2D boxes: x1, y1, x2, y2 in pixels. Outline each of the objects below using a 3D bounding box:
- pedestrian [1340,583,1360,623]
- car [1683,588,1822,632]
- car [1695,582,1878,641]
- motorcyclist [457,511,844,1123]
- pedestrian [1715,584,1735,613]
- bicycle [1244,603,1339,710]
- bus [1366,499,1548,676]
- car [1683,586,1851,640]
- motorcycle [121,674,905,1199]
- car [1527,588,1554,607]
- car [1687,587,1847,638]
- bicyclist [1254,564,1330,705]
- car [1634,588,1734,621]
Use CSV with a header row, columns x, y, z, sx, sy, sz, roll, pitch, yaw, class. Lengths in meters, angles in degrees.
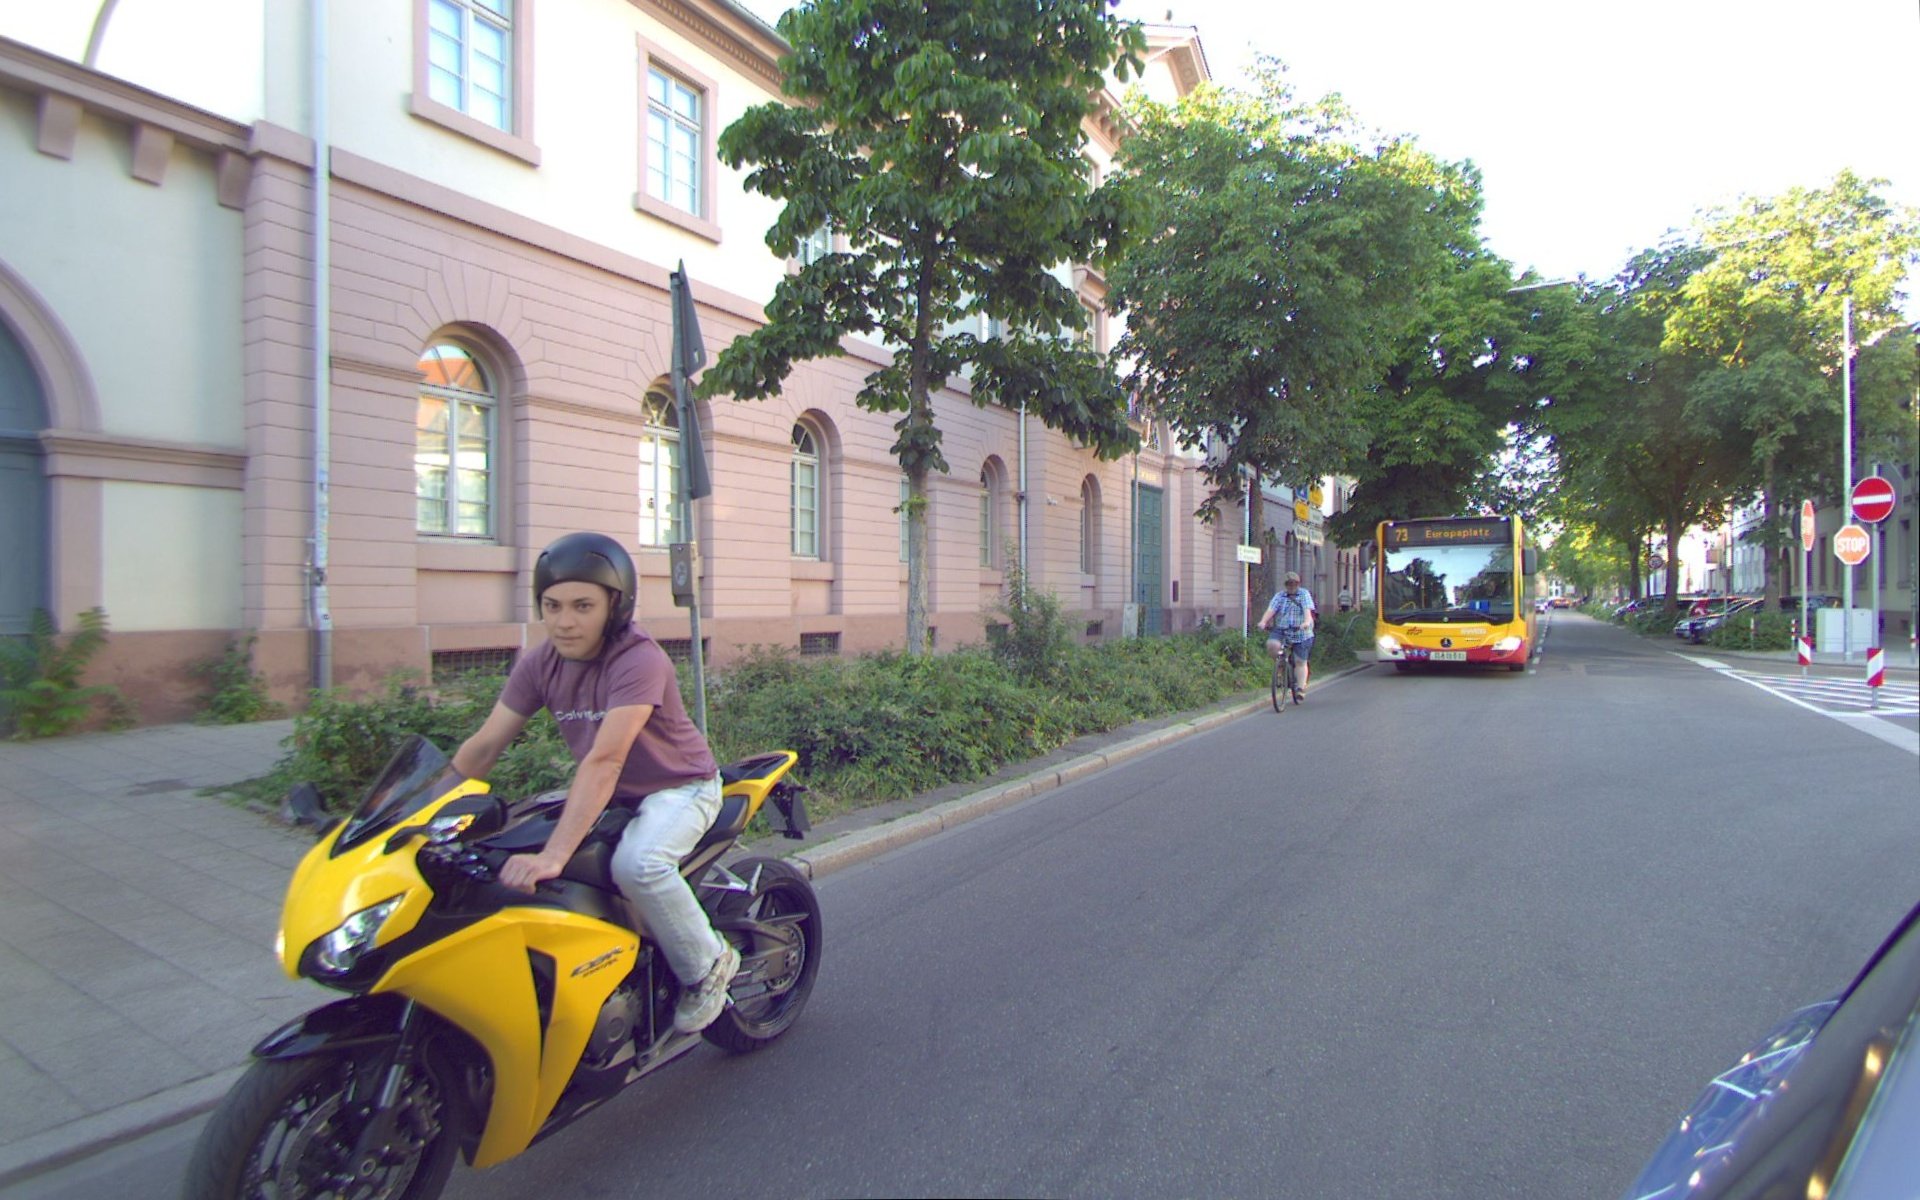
x,y,z,sx,sy,sz,roll,pitch,yaw,class
18.389,0.150,47.716,0.794,1.855,0.920,0,0,29,pedestrian
30.380,0.352,38.939,3.966,1.635,1.705,0,0,30,car
24.493,0.305,30.191,3.966,1.635,1.809,0,0,30,car
-0.863,0.515,2.883,0.786,1.438,0.692,-2,-1,28,motorcyclist
47.376,-0.083,62.672,0.887,1.793,1.010,0,0,30,pedestrian
4.599,0.736,13.957,0.777,1.347,2.055,-2,-1,31,bicycle
11.842,-0.215,23.293,2.691,3.039,11.948,-2,-1,31,bus
25.606,0.389,32.292,3.966,1.635,1.705,0,0,30,car
-0.997,0.872,2.841,0.786,1.175,1.948,-2,-1,28,motorcycle
54.731,-0.228,95.358,2.067,1.719,3.954,0,0,32,car
27.115,0.388,34.183,3.966,1.635,1.705,0,0,30,car
4.571,0.463,13.932,0.777,1.863,0.817,-2,-1,31,bicyclist
36.742,0.220,51.504,3.966,1.635,1.705,0,0,30,car
